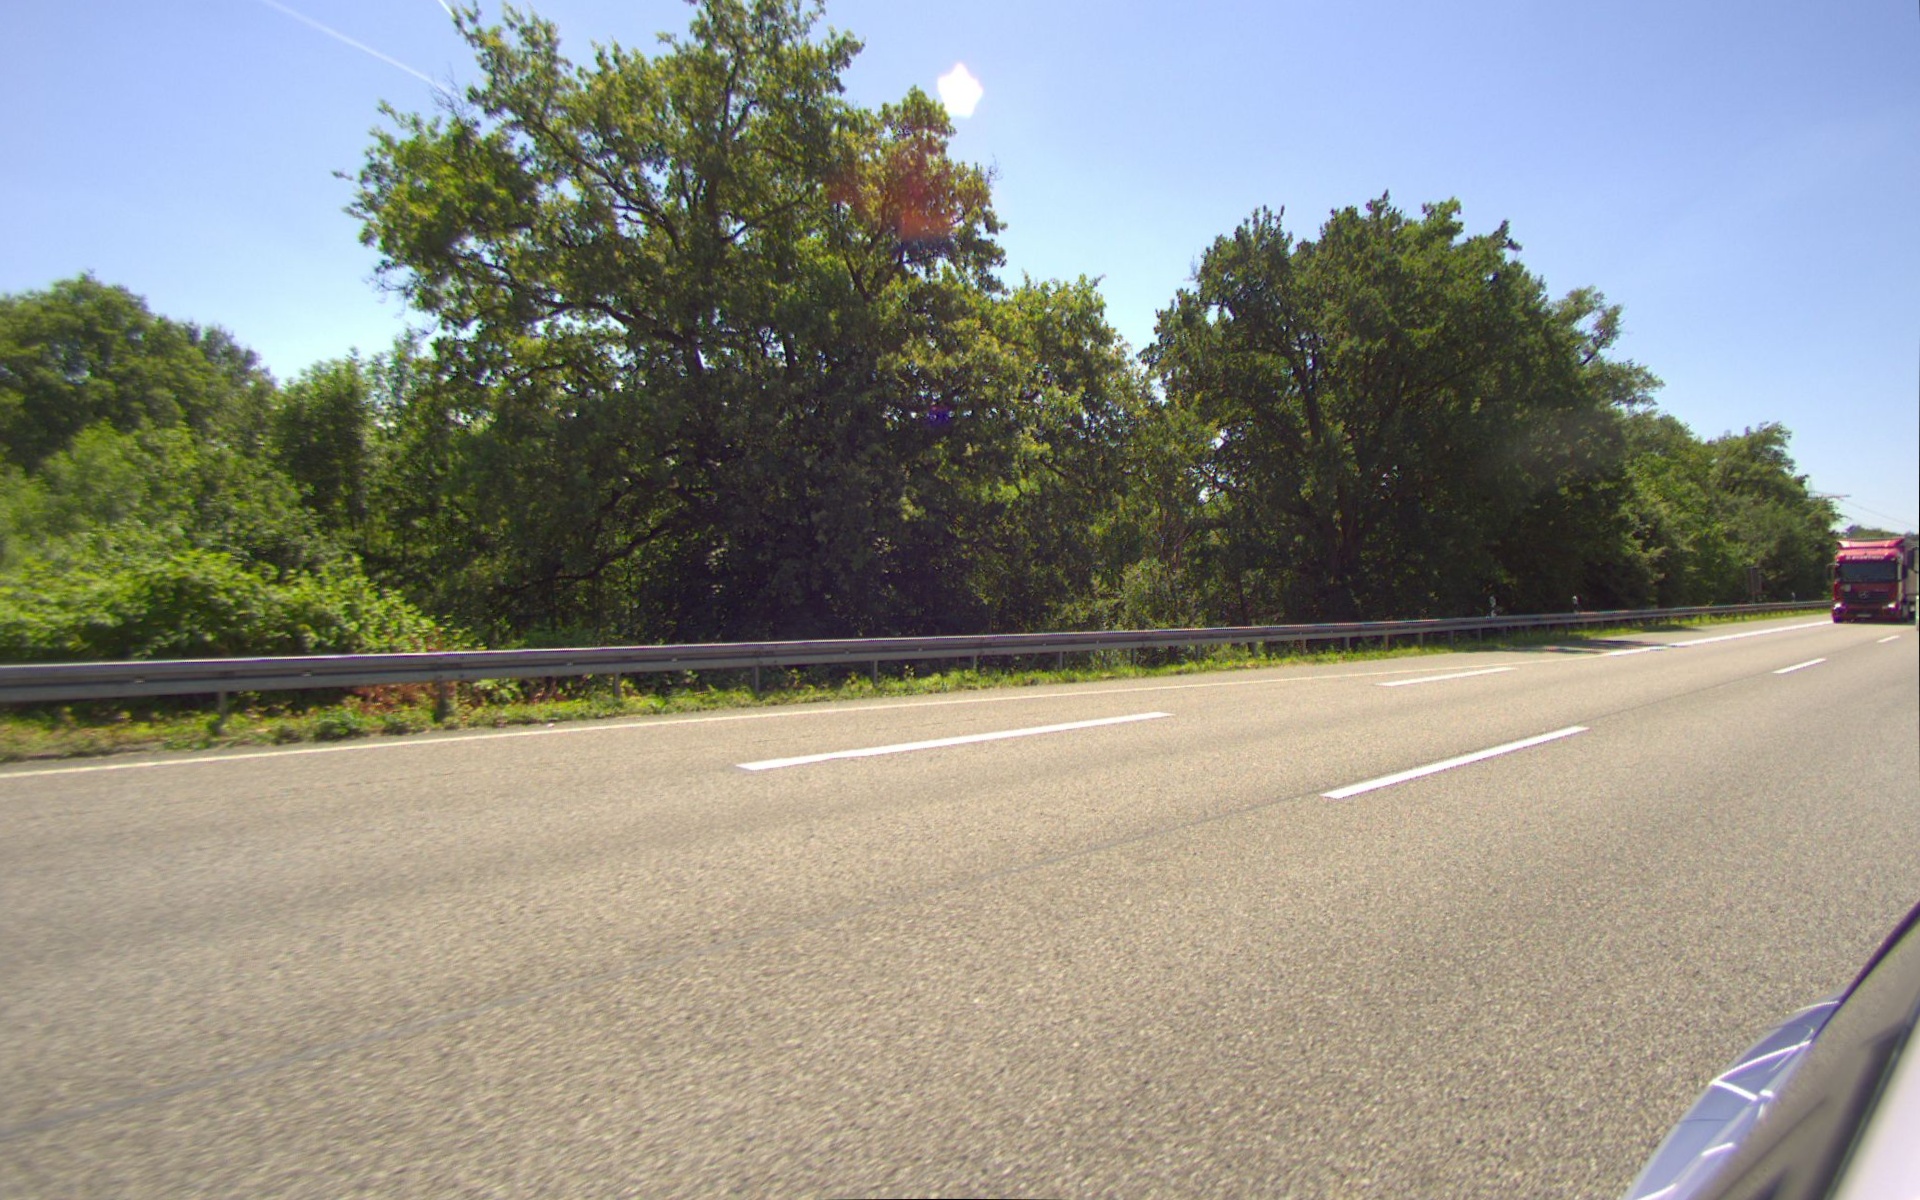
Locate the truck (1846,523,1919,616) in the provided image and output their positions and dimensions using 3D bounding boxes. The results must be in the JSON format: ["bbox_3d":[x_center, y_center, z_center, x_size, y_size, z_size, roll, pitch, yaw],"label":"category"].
[{"bbox_3d":[44.500,-1.434,48.713,4.594,4.284,2.331,-1,0,-43],"label":"truck"}]
